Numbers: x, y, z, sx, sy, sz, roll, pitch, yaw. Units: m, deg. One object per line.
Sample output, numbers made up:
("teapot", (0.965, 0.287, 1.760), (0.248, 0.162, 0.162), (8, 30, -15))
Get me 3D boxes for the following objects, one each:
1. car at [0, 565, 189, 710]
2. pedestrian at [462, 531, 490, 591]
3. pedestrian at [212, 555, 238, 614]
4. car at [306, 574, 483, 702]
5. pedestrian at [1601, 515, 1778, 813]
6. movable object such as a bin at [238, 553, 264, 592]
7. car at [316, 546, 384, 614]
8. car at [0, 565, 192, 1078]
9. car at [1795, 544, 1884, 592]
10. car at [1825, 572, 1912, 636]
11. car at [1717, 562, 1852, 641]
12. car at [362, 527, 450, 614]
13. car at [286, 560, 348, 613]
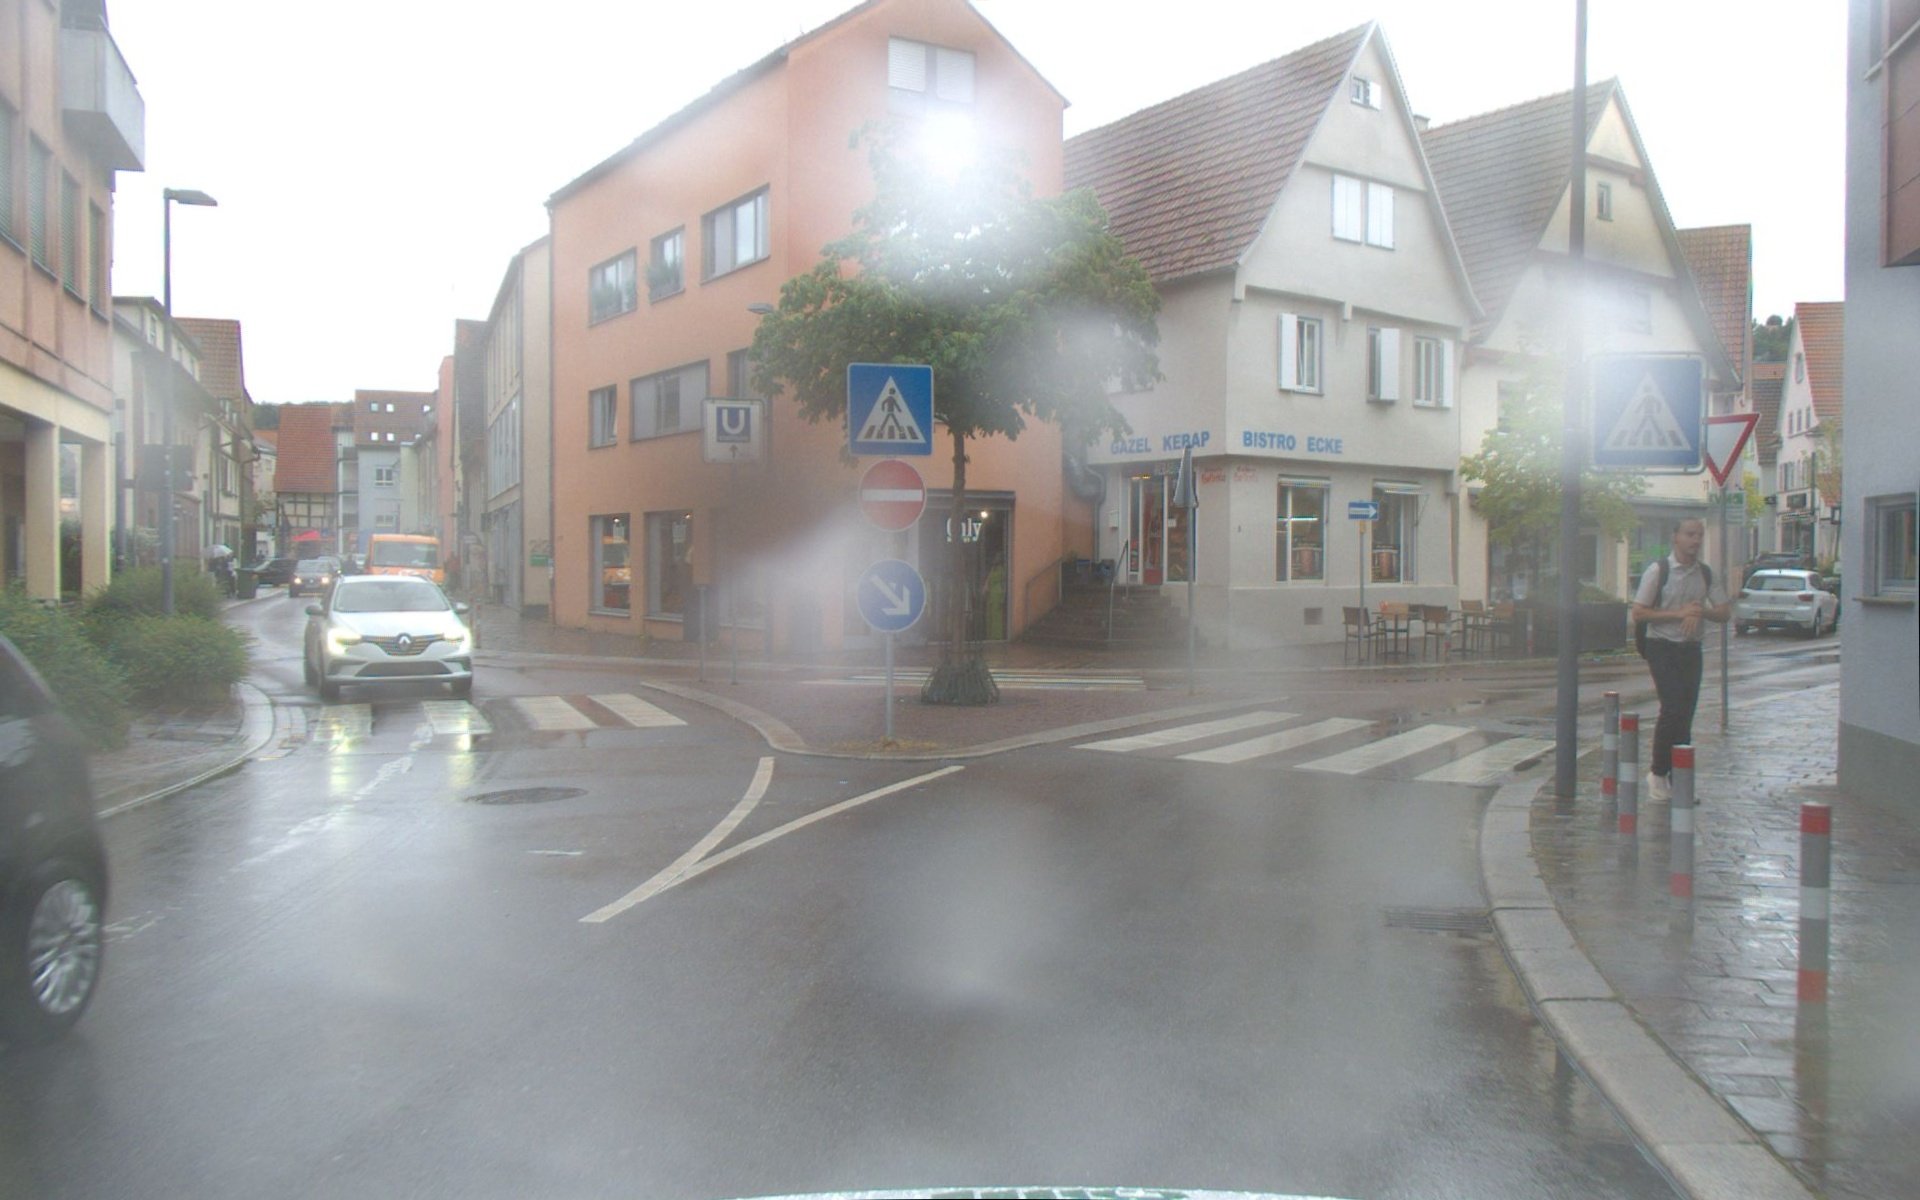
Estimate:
("car", (-9.930, 0.359, 19.018), (1.691, 1.483, 3.884), (1, 1, -22))
("pedestrian", (-16.662, -1.345, 56.925), (0.855, 2.049, 0.703), (0, 1, -23))
("pedestrian", (-25.889, -0.561, 58.286), (0.823, 2.049, 0.847), (-1, 1, -24))
("car", (-7.341, 0.404, 21.424), (1.964, 1.466, 4.140), (-1, 1, -20))
("pedestrian", (5.005, 0.412, 11.368), (0.748, 1.948, 0.854), (0, 0, -32))
("movable object such as a bin", (-25.834, -0.989, 60.267), (0.823, 1.406, 0.847), (-1, 1, -24))
("car", (-21.293, -0.683, 57.753), (2.073, 2.183, 4.838), (-2, 1, -20))
("car", (-3.551, 0.672, 3.988), (1.615, 1.471, 3.982), (-2, 1, -2))
("car", (31.731, -1.176, 59.755), (1.951, 1.620, 4.004), (-2, 1, 15))
("car", (25.647, 0.087, 46.641), (1.957, 1.620, 3.992), (-2, 1, 31))
("car", (18.980, 0.008, 38.006), (1.962, 1.620, 3.982), (-1, 1, 39))
("car", (-15.017, -0.781, 44.803), (2.073, 2.183, 4.839), (-2, 1, -19))
("car", (-26.255, -0.549, 67.642), (1.962, 2.048, 4.342), (-2, 1, -17))
